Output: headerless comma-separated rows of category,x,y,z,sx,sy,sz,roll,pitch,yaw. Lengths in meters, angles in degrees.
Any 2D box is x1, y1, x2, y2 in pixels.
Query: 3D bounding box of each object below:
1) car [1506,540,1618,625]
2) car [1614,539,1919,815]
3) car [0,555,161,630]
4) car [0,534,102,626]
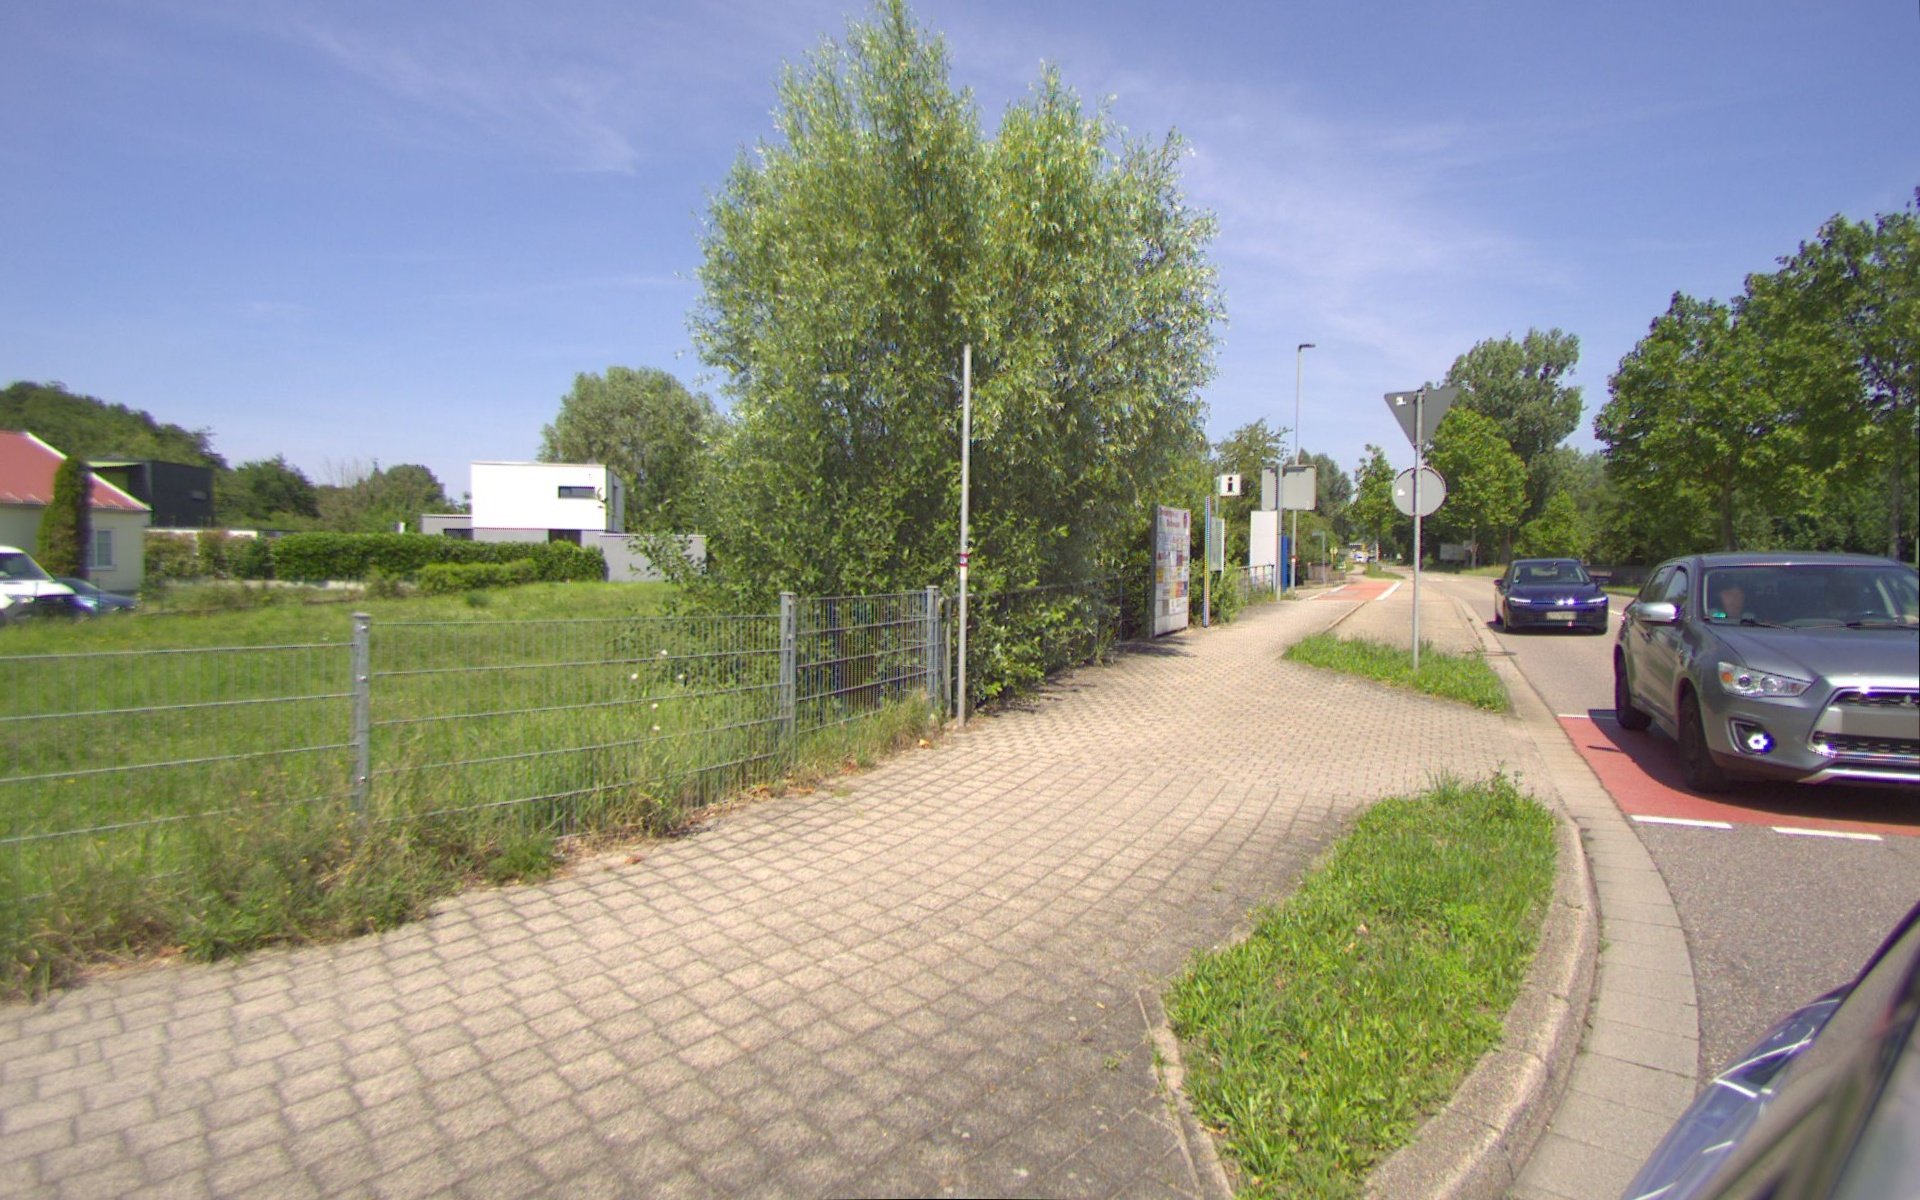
car,12.208,-0.401,20.732,1.778,1.558,4.091,1,2,28
car,6.337,0.332,7.735,1.734,1.552,4.484,1,3,27
car,-26.273,-0.231,29.109,4.837,2.038,2.071,-1,2,-2
car,-25.477,-0.487,25.838,5.083,2.228,2.218,-1,2,-3
